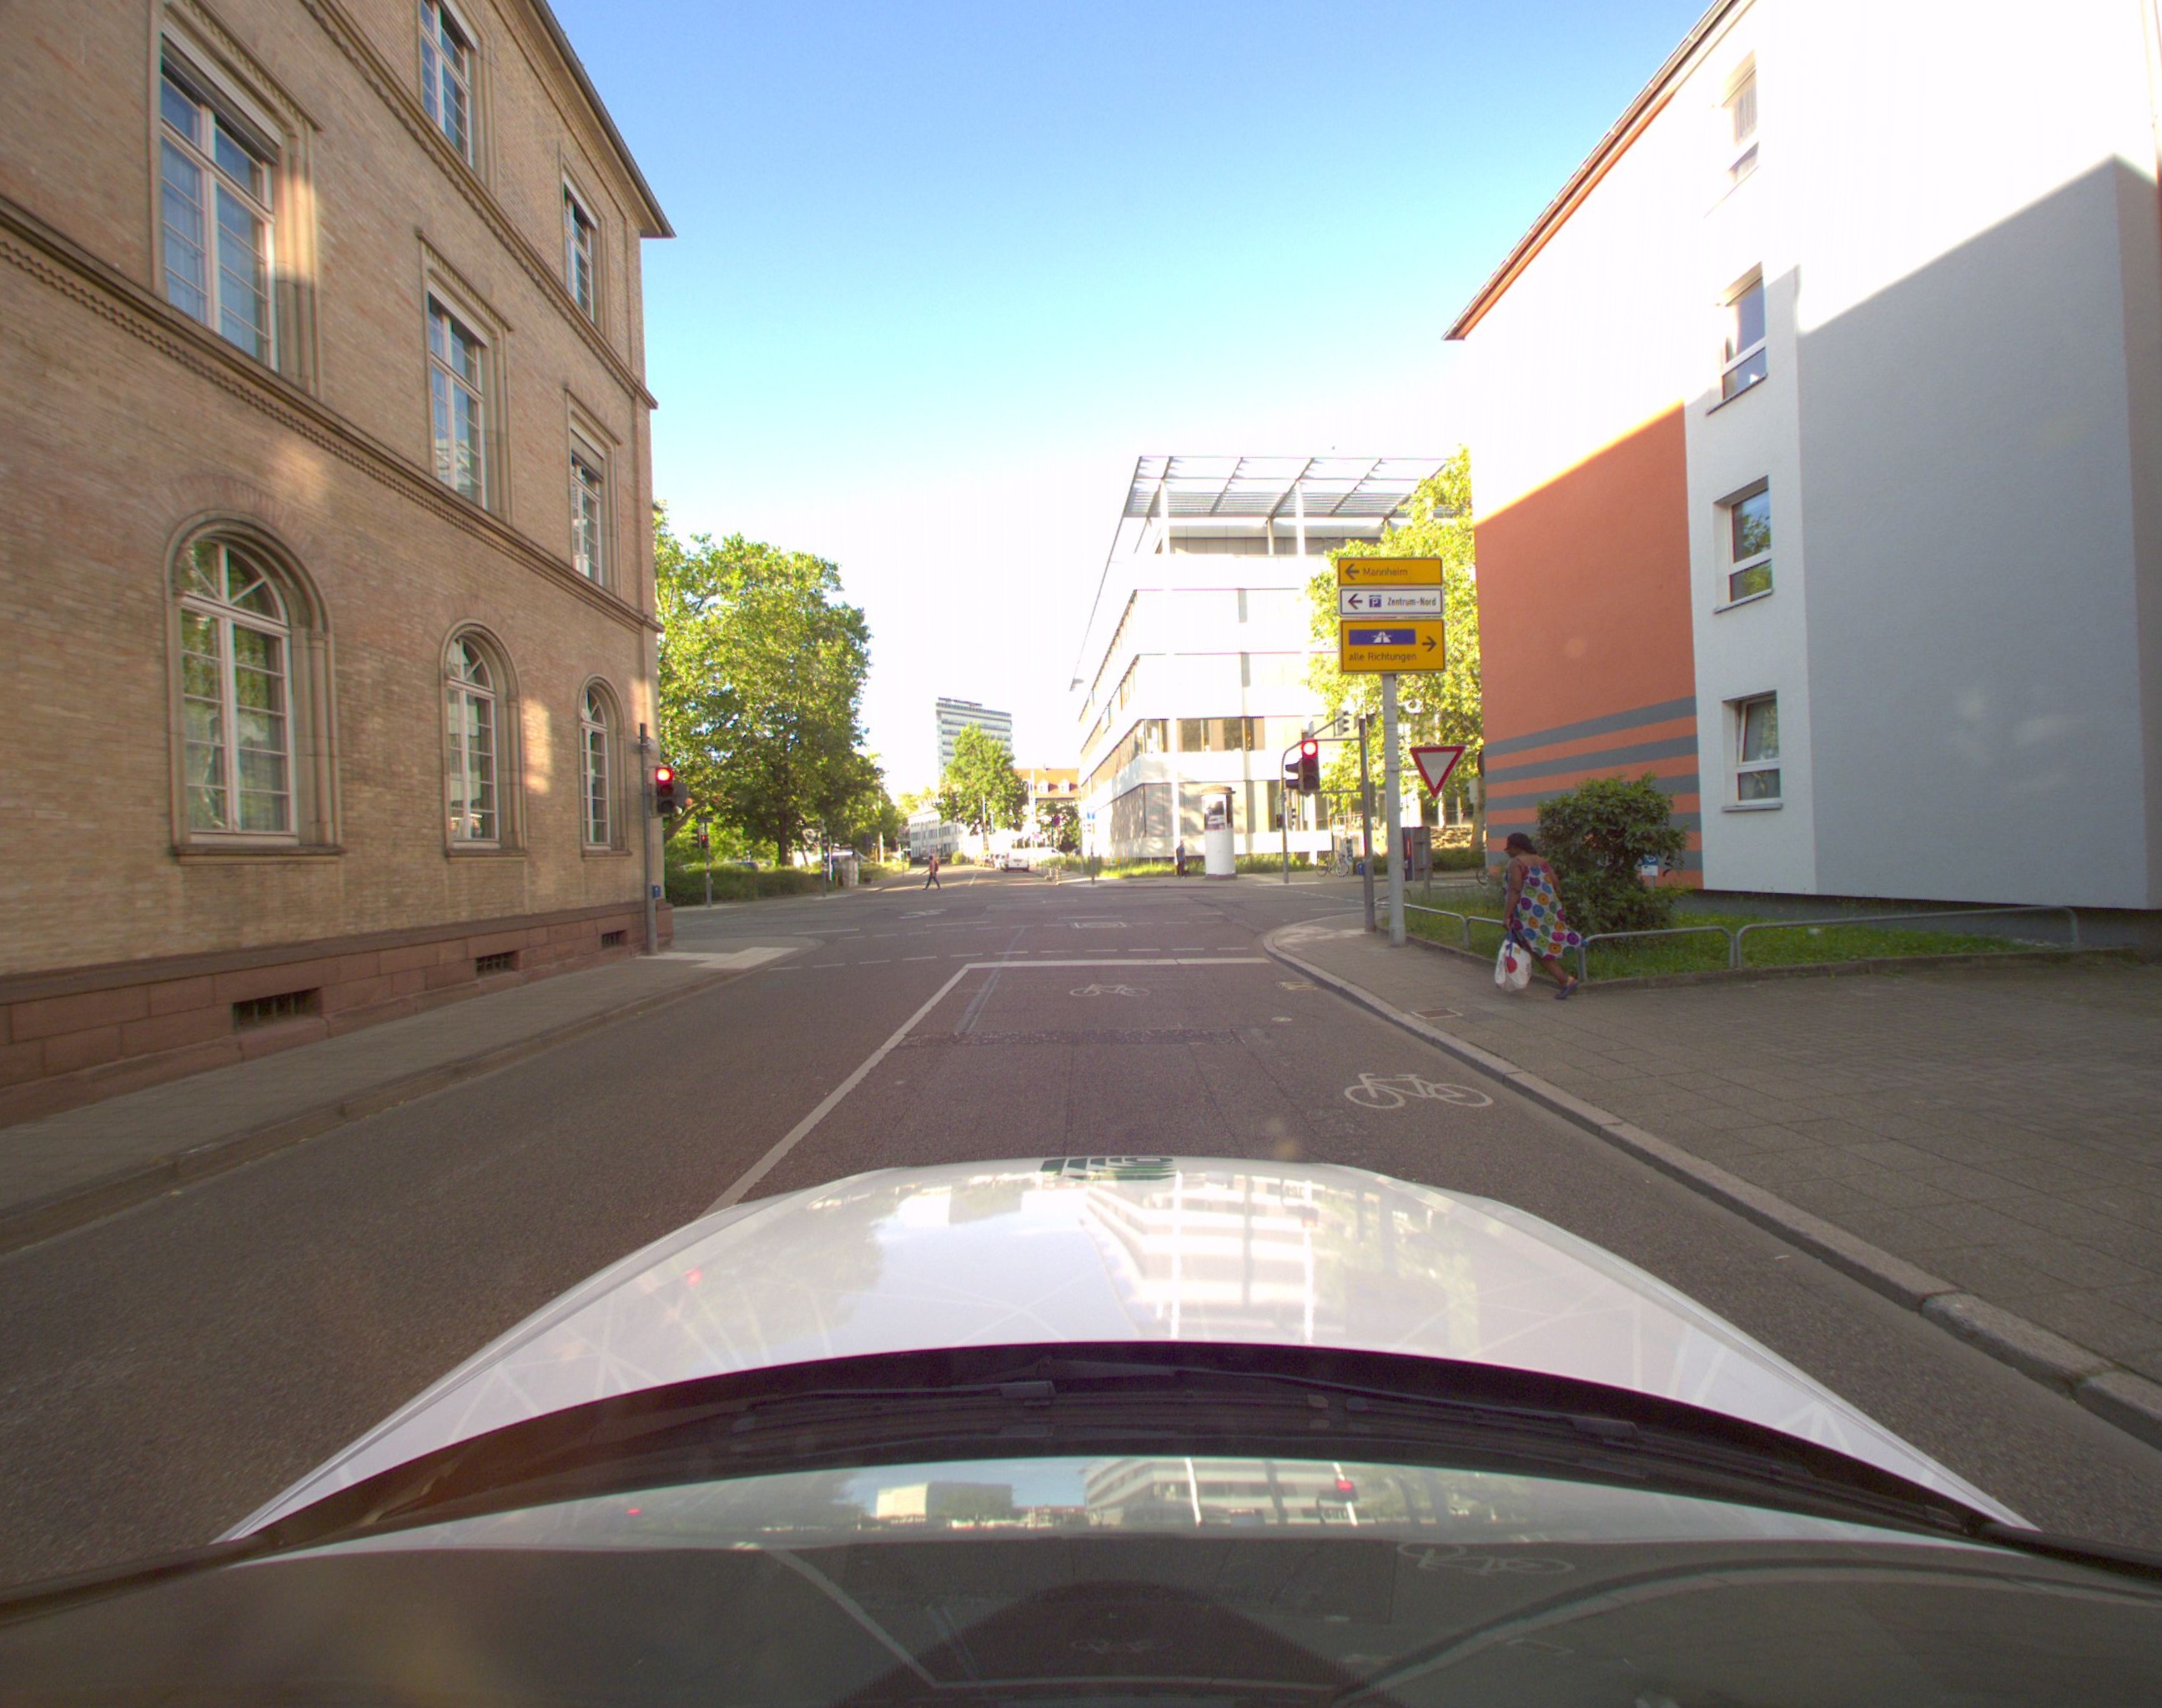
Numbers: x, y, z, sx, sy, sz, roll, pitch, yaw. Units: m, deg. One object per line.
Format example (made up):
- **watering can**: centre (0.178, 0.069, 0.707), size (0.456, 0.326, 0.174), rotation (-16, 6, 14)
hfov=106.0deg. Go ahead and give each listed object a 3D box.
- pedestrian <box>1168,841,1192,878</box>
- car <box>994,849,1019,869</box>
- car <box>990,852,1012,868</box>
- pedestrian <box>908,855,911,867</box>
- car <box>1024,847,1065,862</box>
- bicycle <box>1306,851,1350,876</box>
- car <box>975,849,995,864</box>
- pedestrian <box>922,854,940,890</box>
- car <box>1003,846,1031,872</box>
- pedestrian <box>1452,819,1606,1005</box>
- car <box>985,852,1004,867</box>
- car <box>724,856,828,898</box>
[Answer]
- **pedestrian**: centre (4.726, 0.258, 38.890), size (0.658, 1.736, 0.802), rotation (-2, 0, -43)
- **car**: centre (-7.058, 0.457, 76.706), size (1.947, 1.795, 4.223), rotation (-2, 0, -11)
- **car**: centre (-8.060, 0.590, 81.516), size (1.705, 1.424, 4.221), rotation (-2, 0, -11)
- **pedestrian**: centre (-22.555, 0.930, 107.084), size (0.380, 1.534, 0.444), rotation (-2, 0, -10)
- **car**: centre (-4.599, 0.049, 103.160), size (4.889, 1.872, 1.990), rotation (-1, -1, -15)
- **bicycle**: centre (10.901, 0.426, 36.010), size (0.467, 1.049, 1.893), rotation (-2, 0, -40)
- **car**: centre (-11.313, 0.299, 96.139), size (2.100, 1.658, 4.461), rotation (-2, 0, -9)
- **pedestrian**: centre (-6.732, 0.808, 36.611), size (0.712, 1.599, 0.615), rotation (-2, 0, -9)
- **car**: centre (-5.130, 0.366, 64.949), size (2.065, 1.963, 4.228), rotation (-2, 0, -7)
- **pedestrian**: centre (4.205, 0.515, 7.667), size (0.960, 1.573, 0.744), rotation (-5, 0, -27)
- **car**: centre (-9.196, 0.568, 86.258), size (1.704, 1.464, 4.225), rotation (-2, 0, -9)
- **car**: centre (-14.401, 1.056, 38.653), size (4.219, 1.777, 1.901), rotation (-2, 0, -7)
